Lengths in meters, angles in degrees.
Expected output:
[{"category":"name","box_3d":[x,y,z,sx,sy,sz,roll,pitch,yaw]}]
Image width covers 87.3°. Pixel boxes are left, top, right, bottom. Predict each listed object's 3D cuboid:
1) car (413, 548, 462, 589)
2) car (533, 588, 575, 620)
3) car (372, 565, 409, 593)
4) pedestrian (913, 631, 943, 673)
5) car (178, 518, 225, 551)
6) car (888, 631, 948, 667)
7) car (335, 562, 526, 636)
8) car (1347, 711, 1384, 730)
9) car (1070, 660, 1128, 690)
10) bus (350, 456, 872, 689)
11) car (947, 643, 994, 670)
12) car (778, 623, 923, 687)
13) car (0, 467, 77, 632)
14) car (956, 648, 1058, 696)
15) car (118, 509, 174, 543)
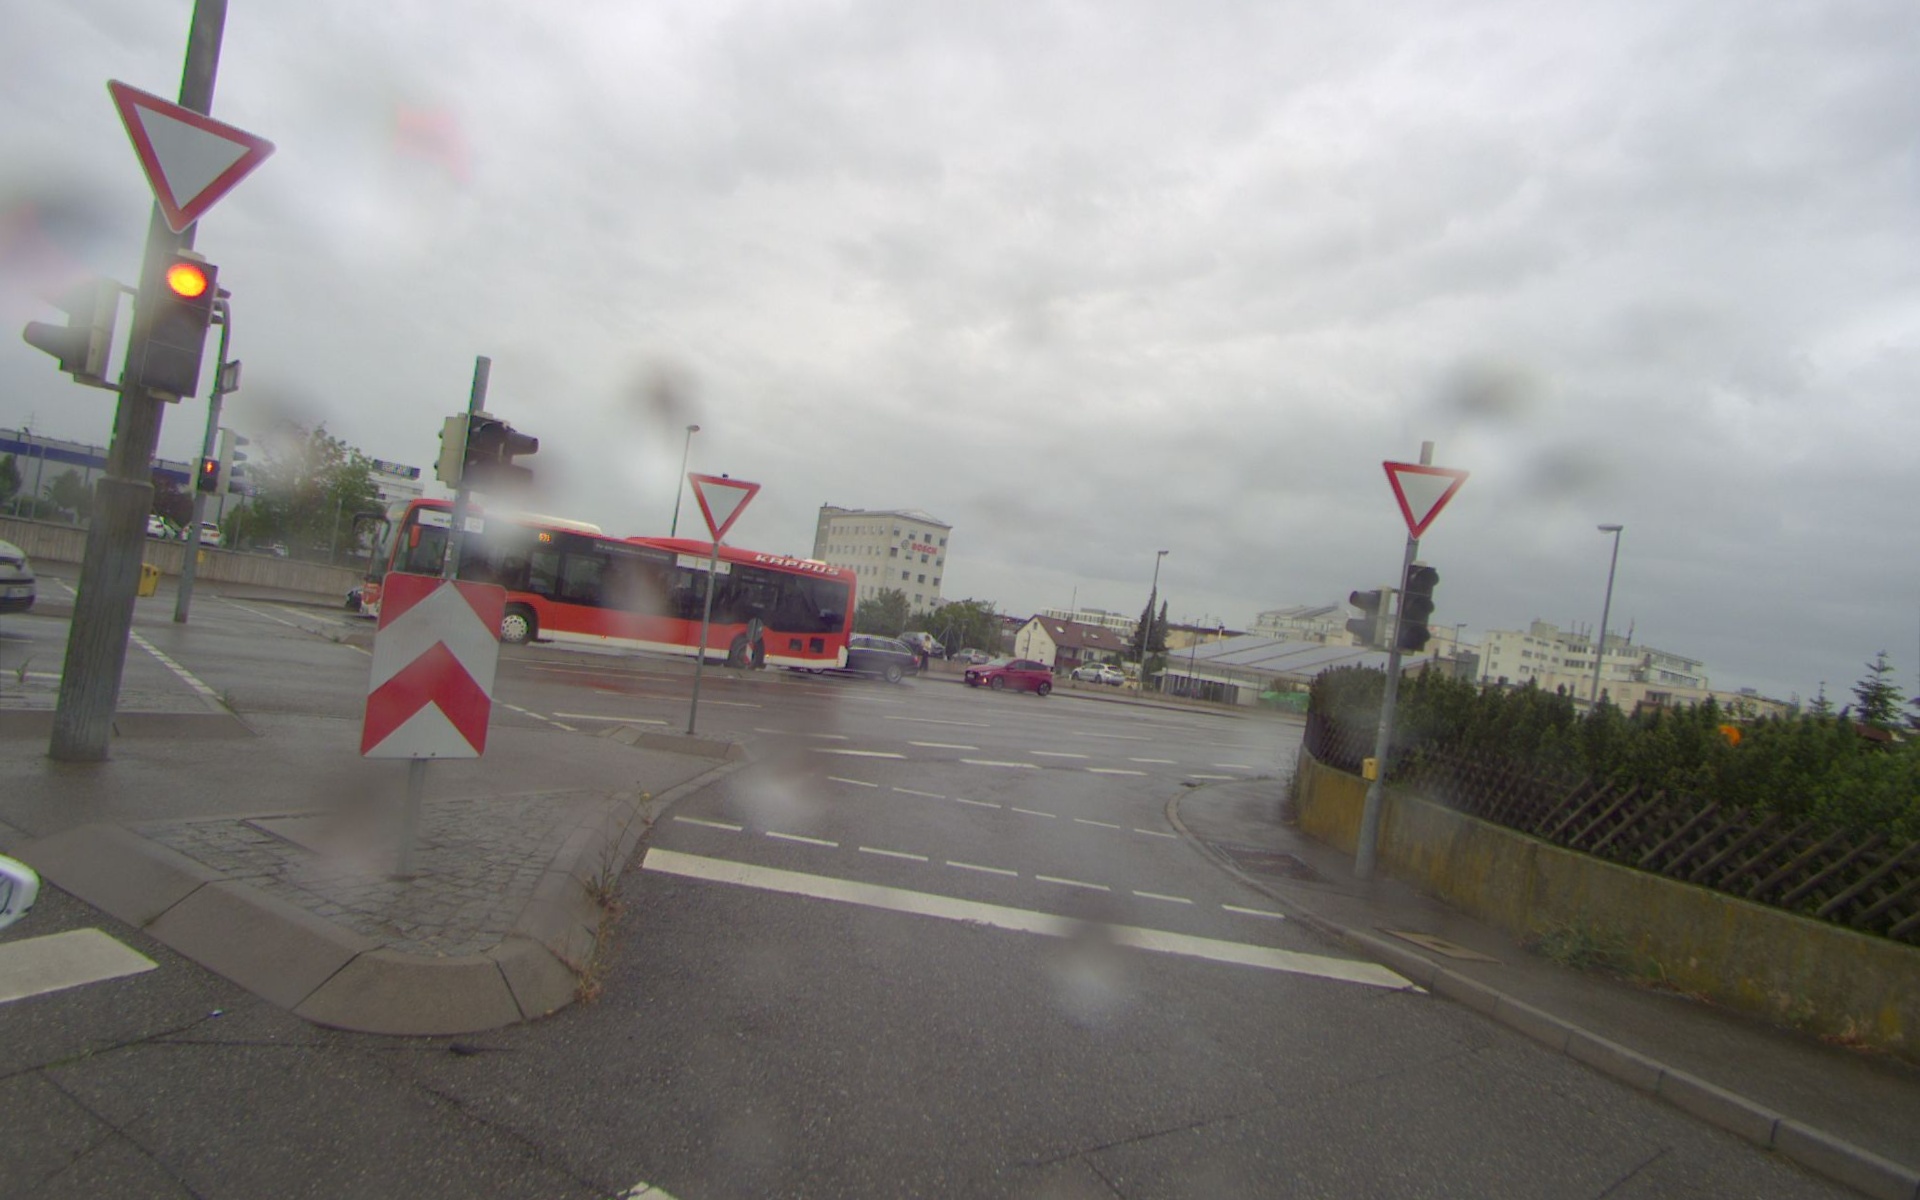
[{"category":"car","box_3d":[-29.978,-1.802,57.686,1.734,2.037,3.786,8,-2,-37]},{"category":"car","box_3d":[-31.940,0.285,79.070,1.983,2.037,3.962,8,-2,-36]},{"category":"car","box_3d":[-41.474,-1.560,73.221,1.912,1.607,3.754,9,-2,-34]},{"category":"pedestrian","box_3d":[-1.462,2.354,45.603,0.819,1.723,0.893,8,-1,-30]},{"category":"car","box_3d":[-43.821,-3.762,58.219,1.847,1.543,4.066,8,-2,-35]},{"category":"car","box_3d":[-2.609,2.963,61.626,1.912,1.684,3.869,9,-2,-29]},{"category":"car","box_3d":[-14.817,-0.002,28.295,4.367,1.370,1.804,10,-3,-42]},{"category":"car","box_3d":[41.242,12.222,102.254,3.616,1.436,1.720,10,-2,-36]},{"category":"car","box_3d":[9.658,5.213,70.125,1.976,1.561,3.977,9,-2,-25]},{"category":"bus","box_3d":[-8.239,-0.303,25.968,12.223,3.614,2.952,12,-4,-41]},{"category":"car","box_3d":[0.851,4.681,83.621,1.980,1.636,3.970,9,-2,-30]},{"category":"car","box_3d":[-3.704,1.877,34.009,4.324,1.524,1.987,9,-2,-28]},{"category":"car","box_3d":[-13.096,-0.863,11.119,4.424,1.865,1.991,8,-2,-22]},{"category":"car","box_3d":[2.032,3.067,42.773,3.948,1.525,1.853,9,-2,-36]},{"category":"car","box_3d":[-45.608,-4.115,56.451,1.805,1.450,4.071,8,-2,-32]}]
